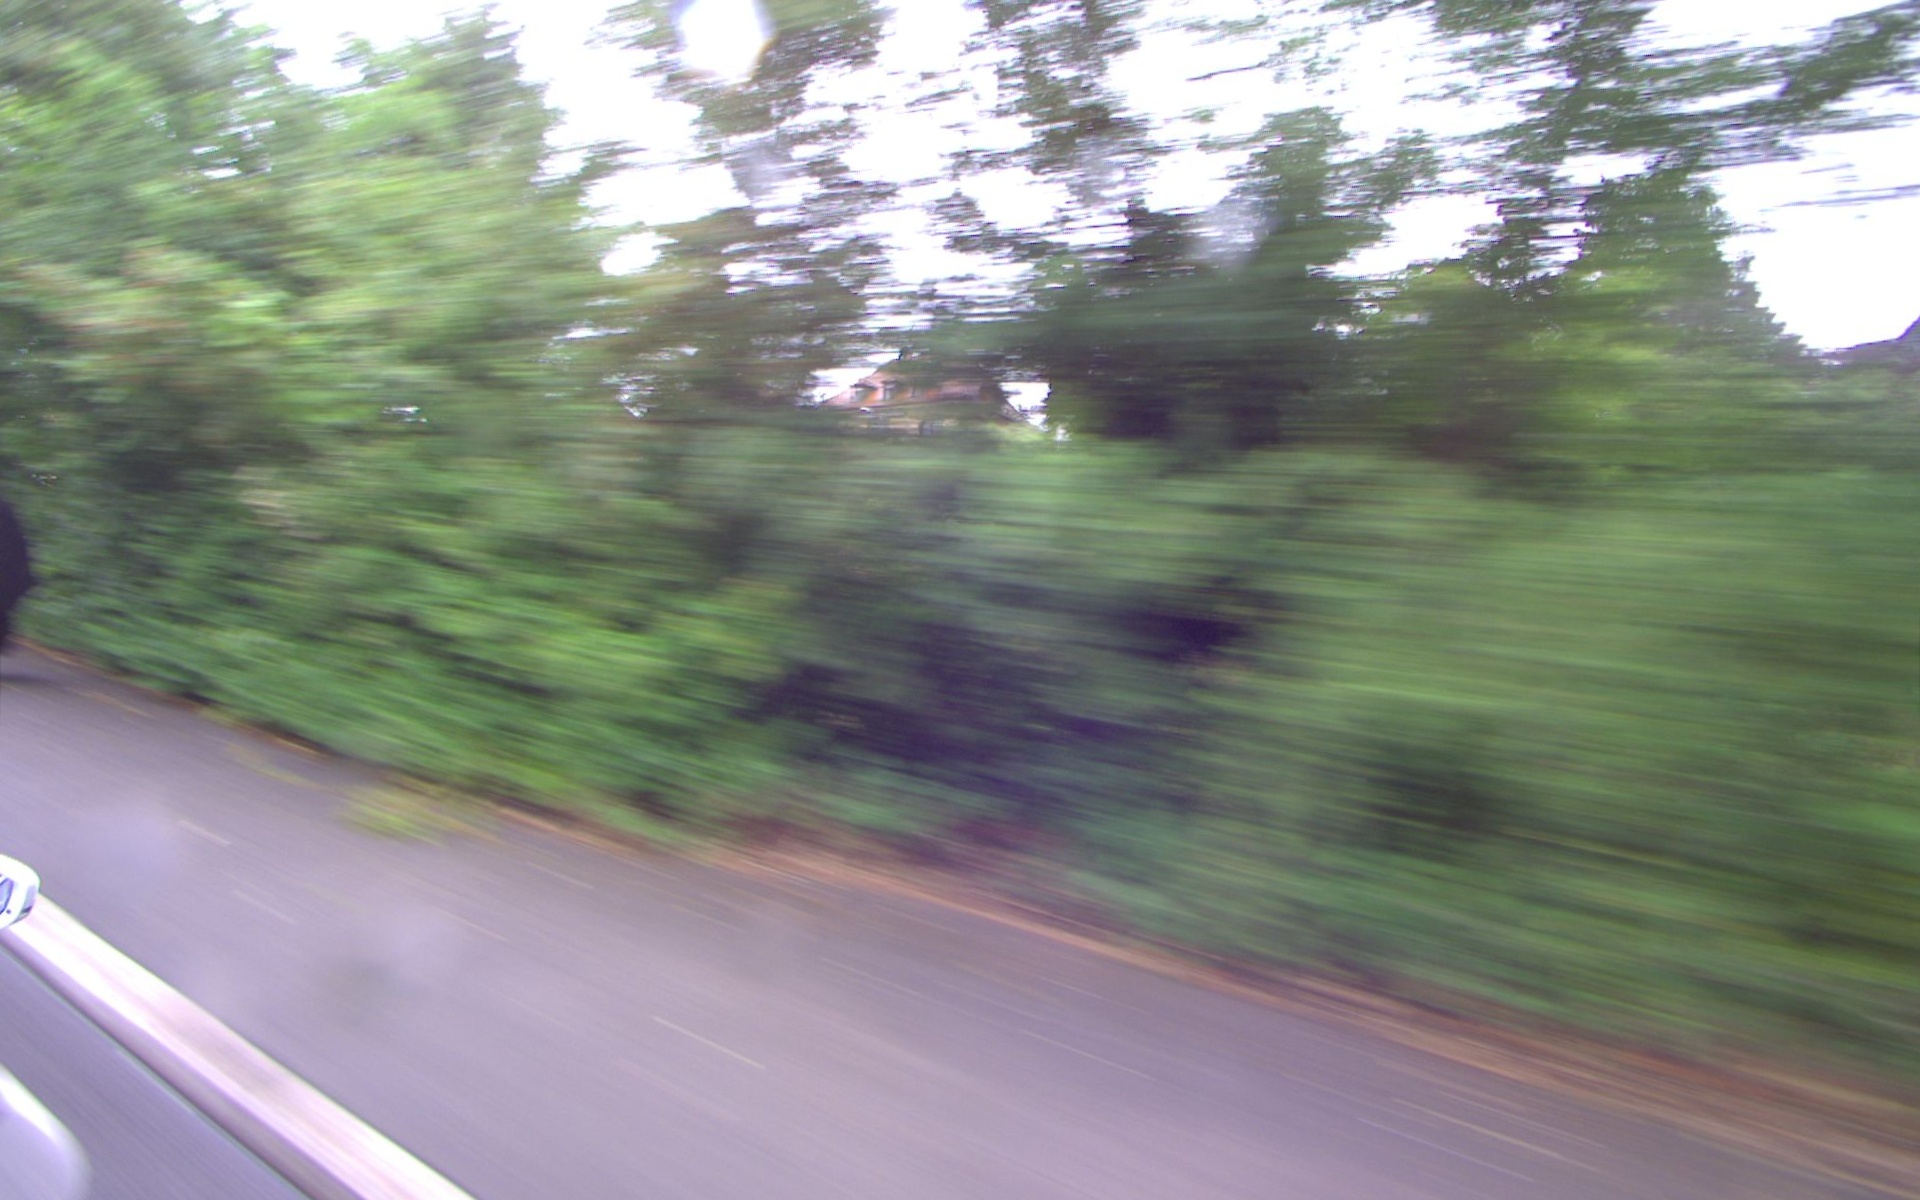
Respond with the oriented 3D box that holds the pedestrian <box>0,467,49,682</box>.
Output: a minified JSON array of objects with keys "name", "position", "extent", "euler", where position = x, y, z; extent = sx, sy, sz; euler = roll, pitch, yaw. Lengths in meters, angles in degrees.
[{"name":"pedestrian","position":[-7.412,-0.227,7.582],"extent":[0.659,1.586,0.595],"euler":[8,1,38]}]
